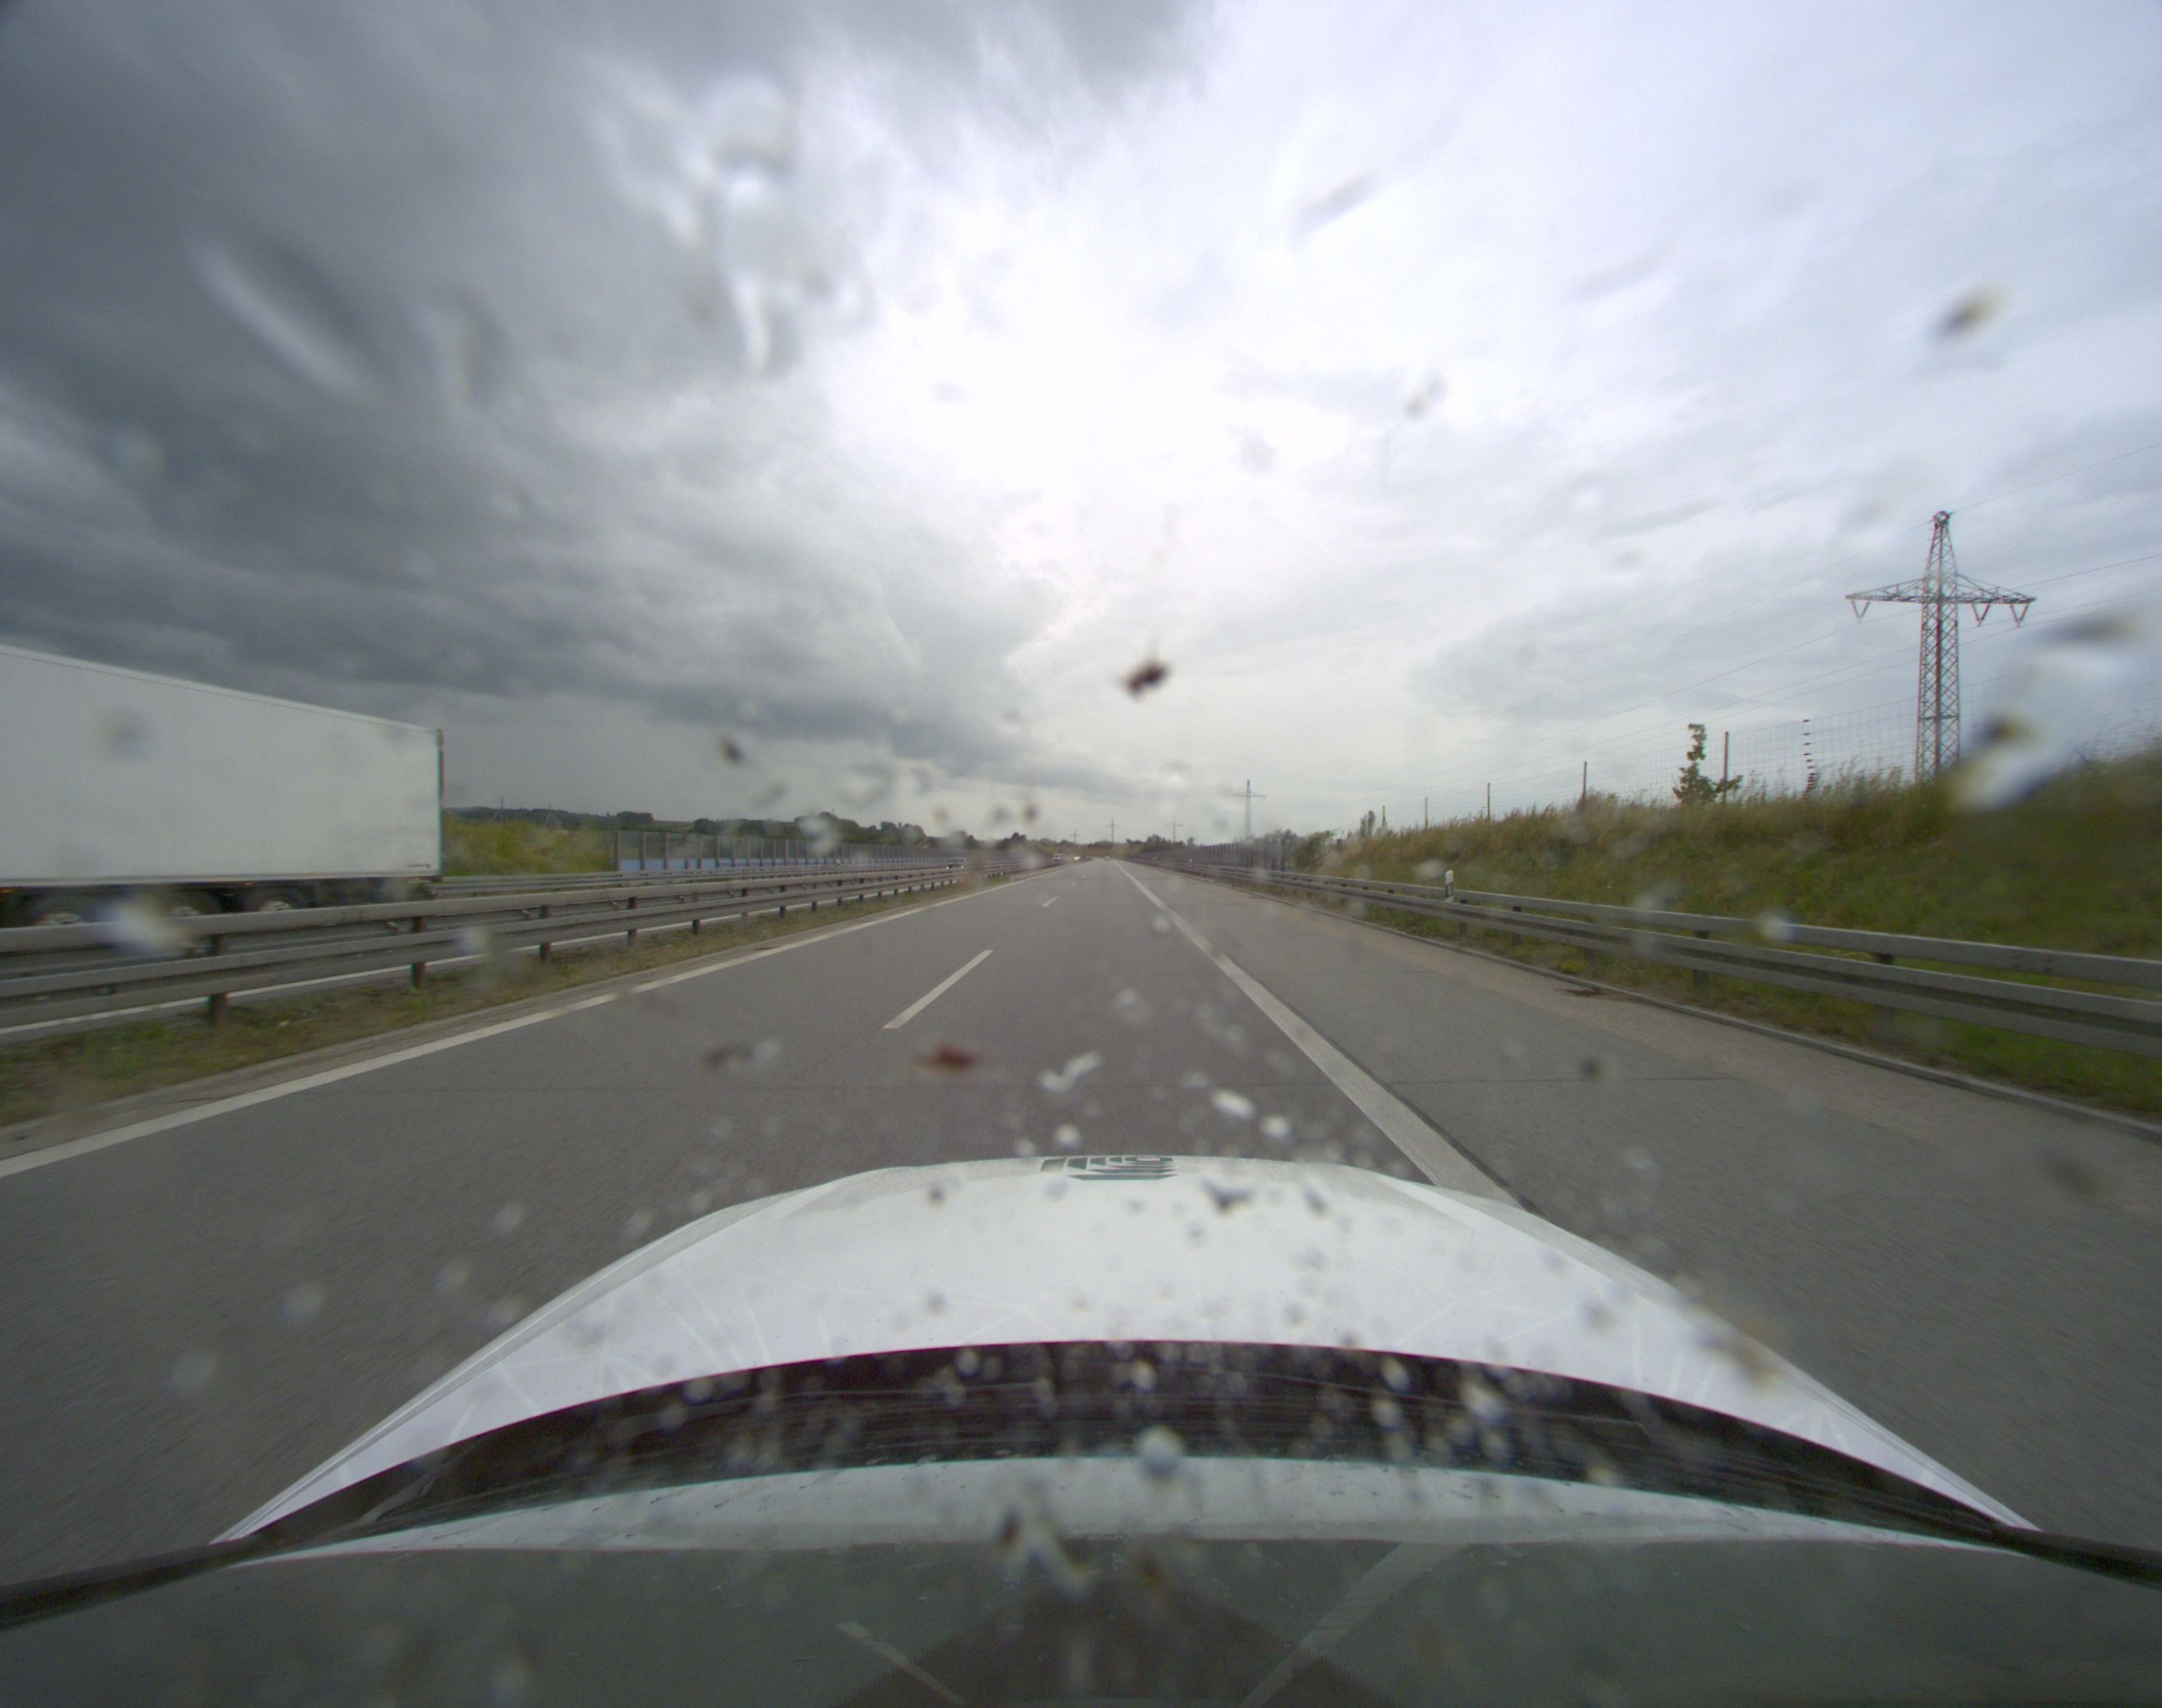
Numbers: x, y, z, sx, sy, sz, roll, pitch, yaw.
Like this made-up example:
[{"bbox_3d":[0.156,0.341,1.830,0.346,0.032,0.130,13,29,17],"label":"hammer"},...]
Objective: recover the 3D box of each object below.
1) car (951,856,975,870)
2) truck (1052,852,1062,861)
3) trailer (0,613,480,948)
[{"bbox_3d":[-11.529,0.867,79.908,1.624,1.409,4.002,0,0,2],"label":"car"},{"bbox_3d":[-6.805,0.753,228.733,2.264,2.431,7.455,0,0,2],"label":"truck"},{"bbox_3d":[-14.104,-0.857,9.692,2.906,3.925,14.281,0,0,2],"label":"trailer"}]
